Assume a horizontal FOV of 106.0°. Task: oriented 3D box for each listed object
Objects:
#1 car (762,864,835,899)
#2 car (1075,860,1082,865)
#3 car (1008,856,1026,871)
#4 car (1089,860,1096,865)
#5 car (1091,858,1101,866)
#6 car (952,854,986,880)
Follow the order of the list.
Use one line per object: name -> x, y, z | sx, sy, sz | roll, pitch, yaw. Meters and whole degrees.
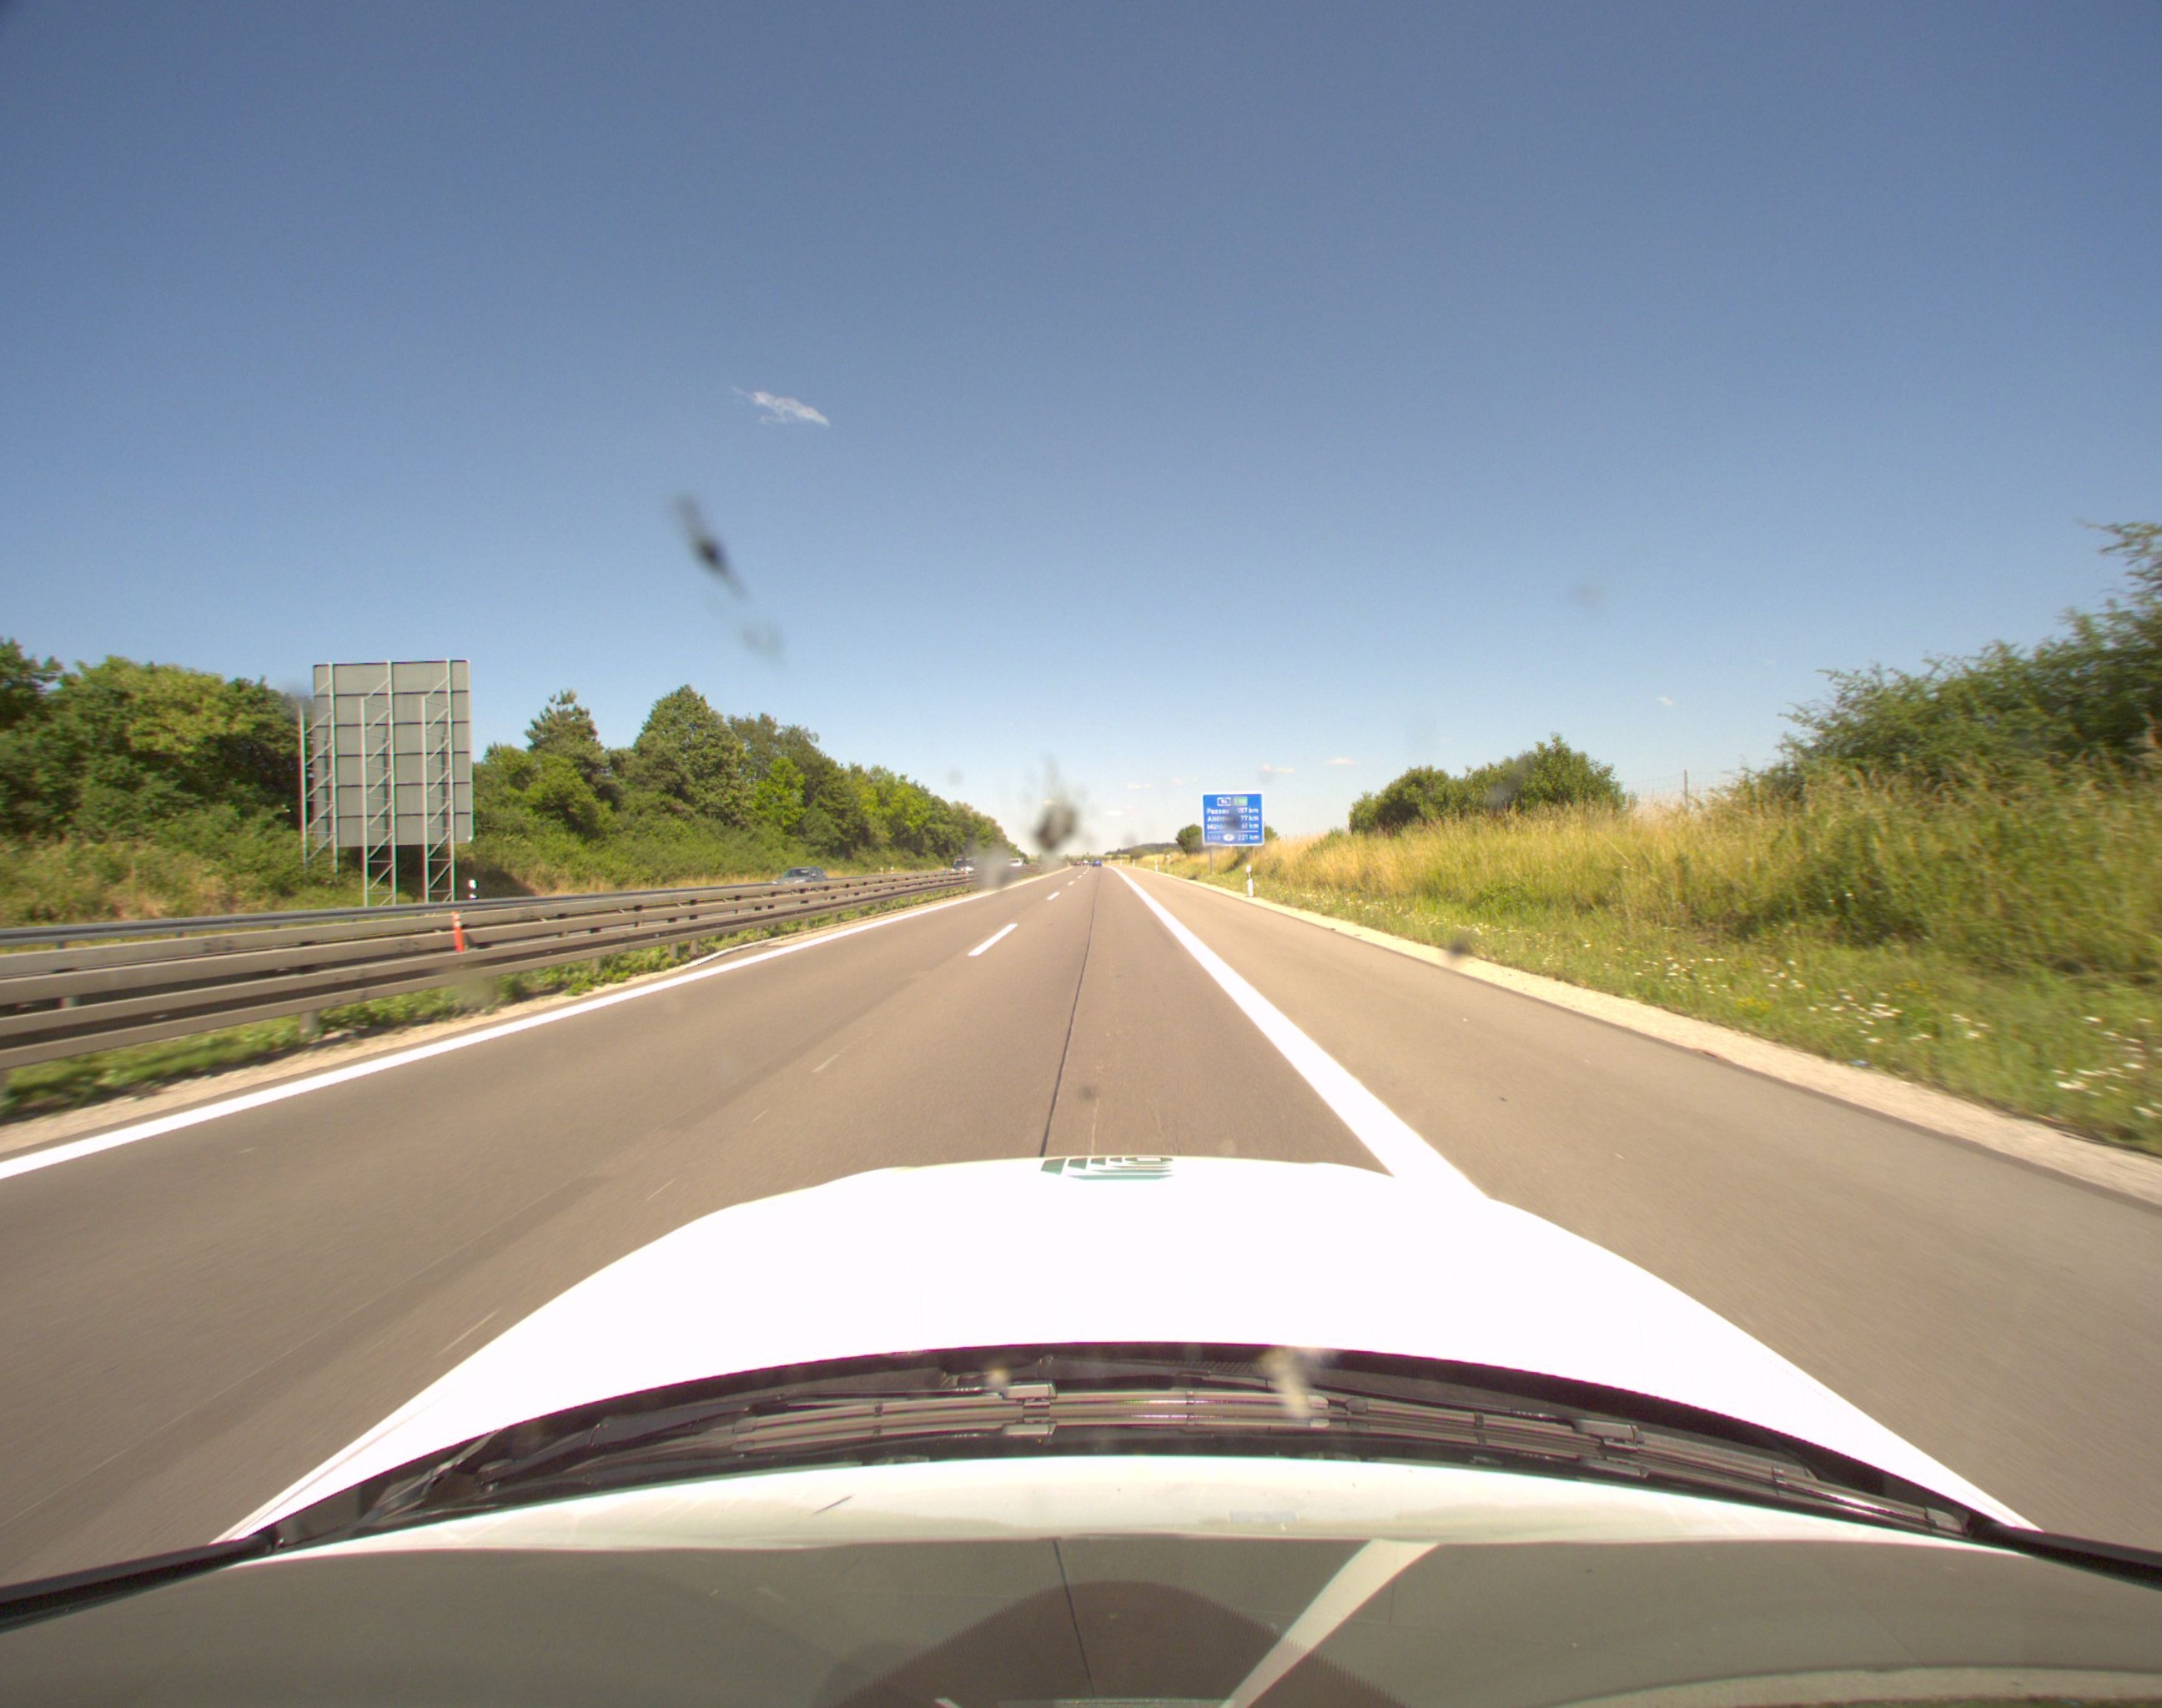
car -> -14.322, 1.356, 41.614 | 1.986, 1.612, 4.489 | -2, 0, 2
car -> -0.678, 2.451, 237.630 | 1.822, 1.453, 3.594 | -3, -1, 2
car -> -8.912, 1.248, 113.766 | 1.986, 1.990, 5.693 | -2, 0, 1
car -> 3.097, 2.285, 219.334 | 1.822, 1.453, 3.594 | -3, -1, 2
car -> 2.995, 1.640, 159.329 | 1.669, 1.453, 3.594 | -3, -1, 3
car -> -9.358, 1.056, 68.392 | 1.986, 1.973, 5.041 | -2, 0, 2
